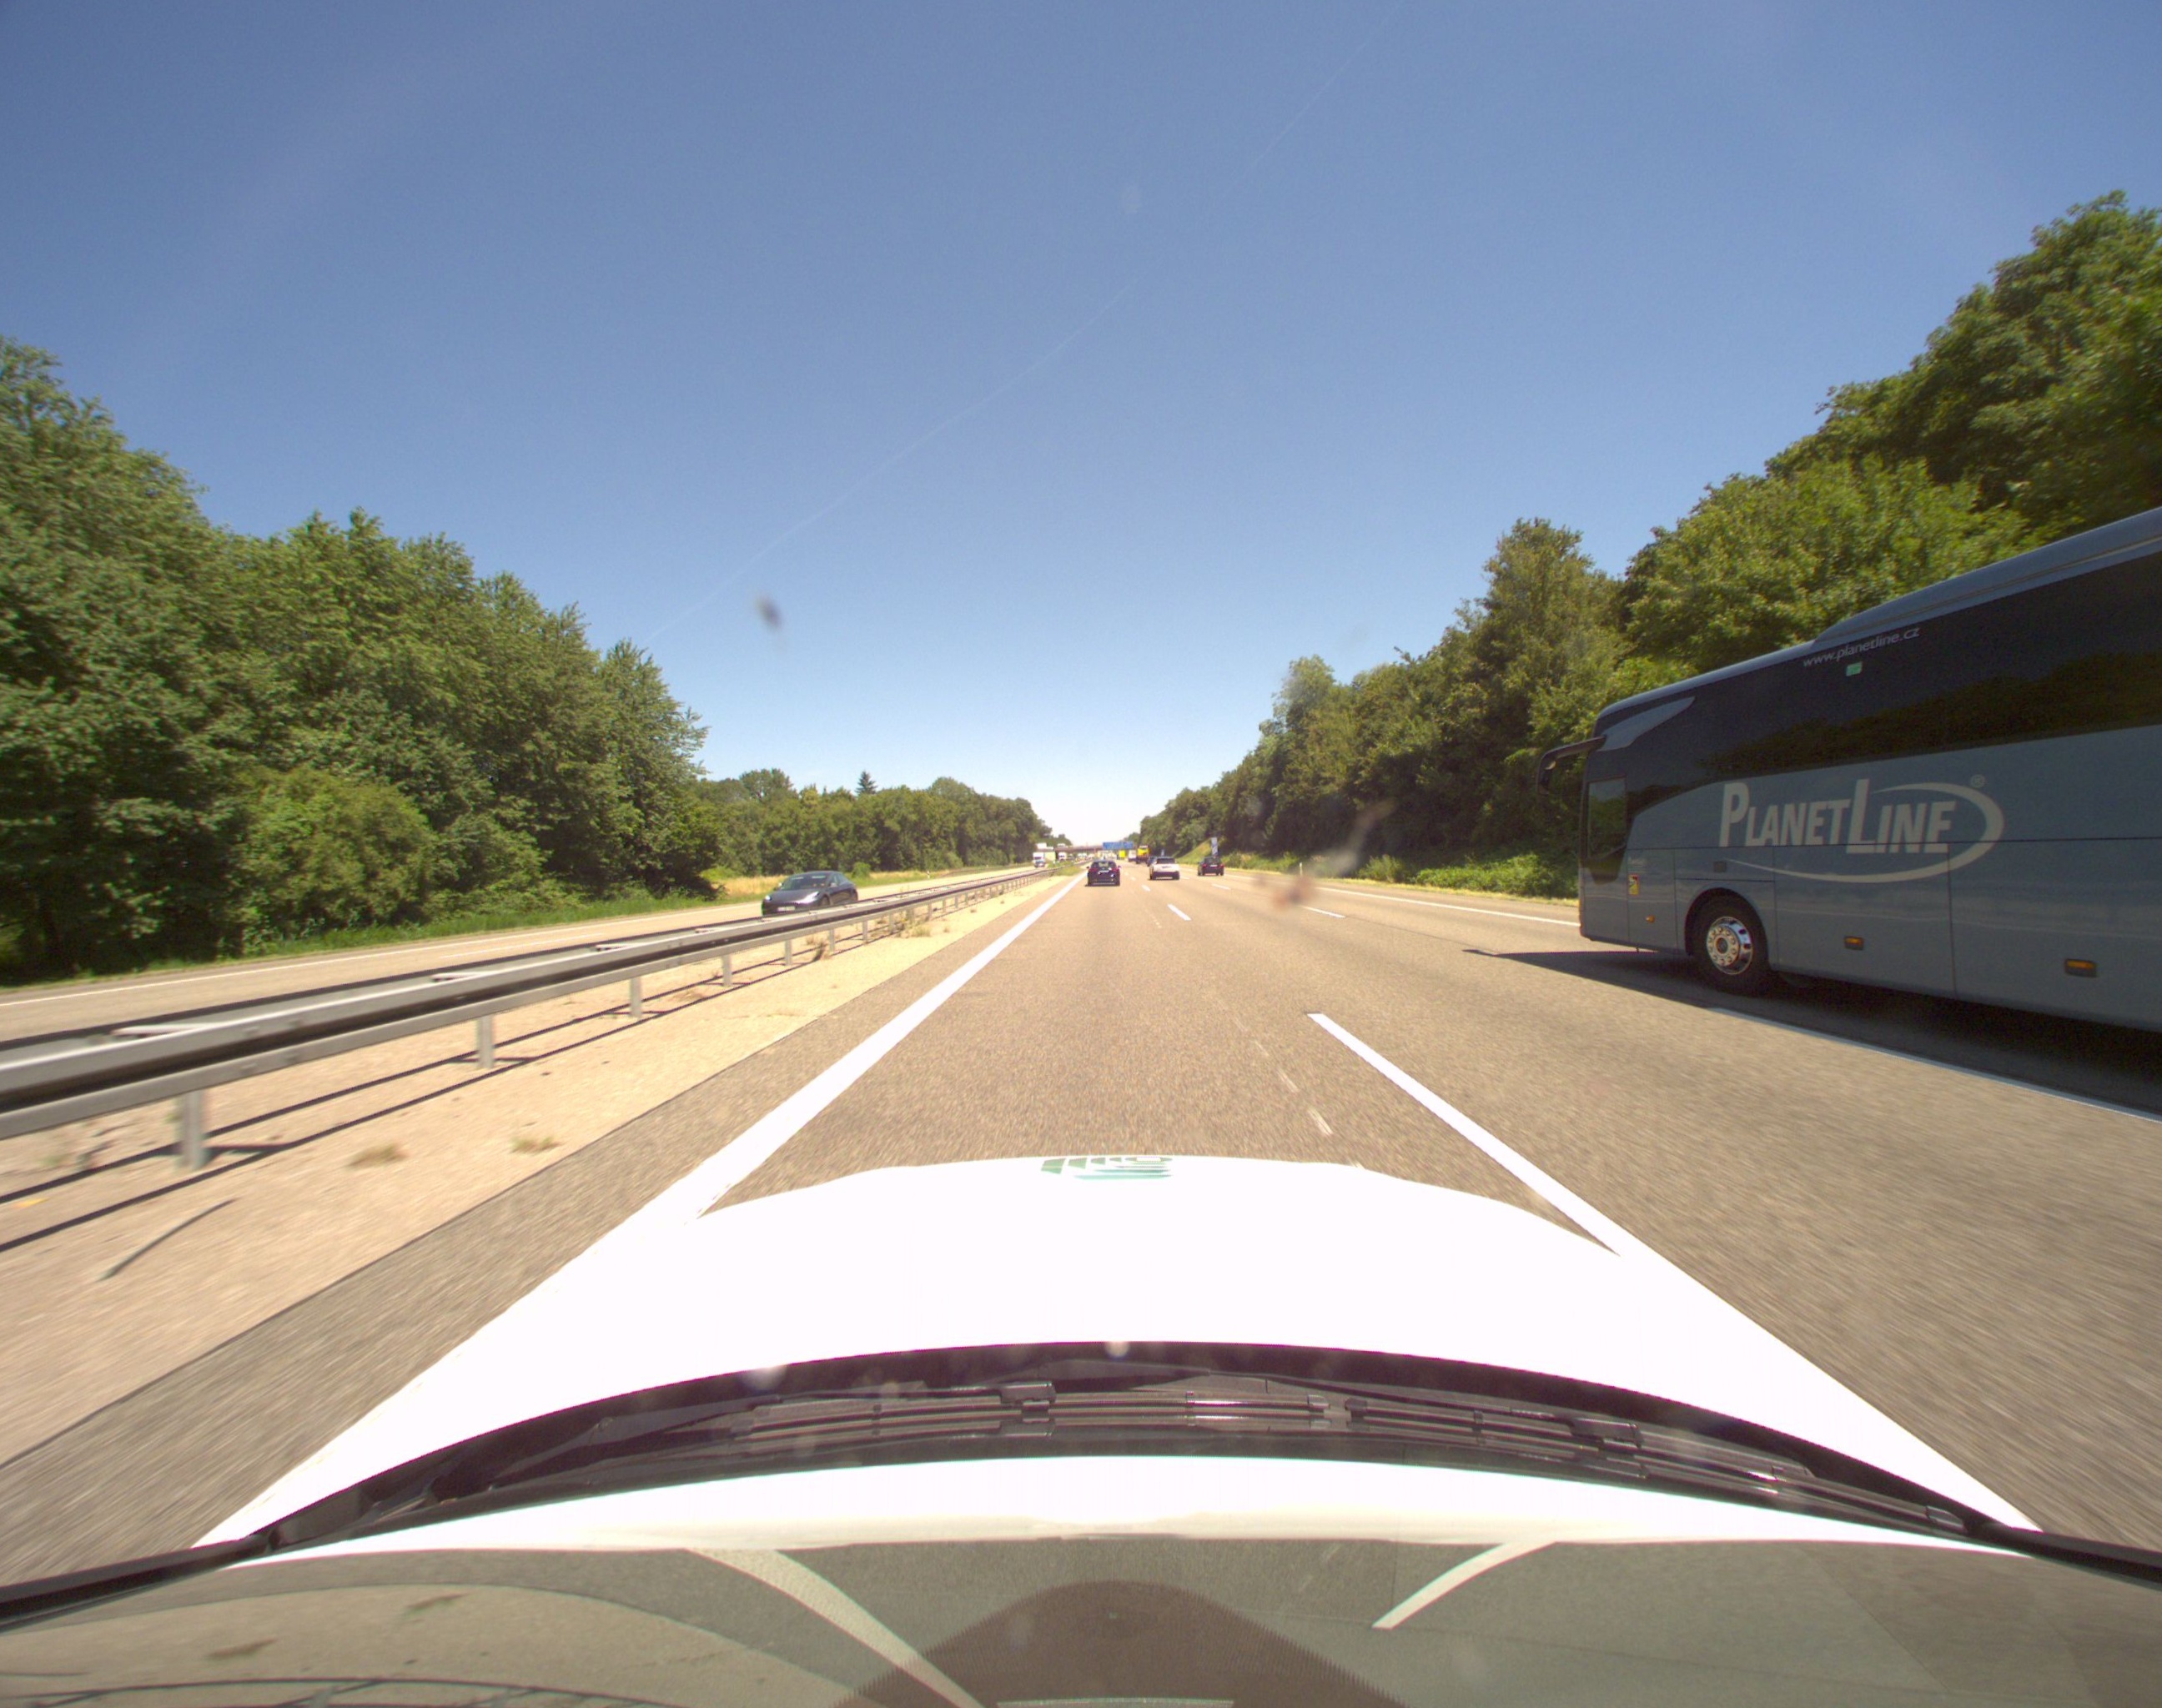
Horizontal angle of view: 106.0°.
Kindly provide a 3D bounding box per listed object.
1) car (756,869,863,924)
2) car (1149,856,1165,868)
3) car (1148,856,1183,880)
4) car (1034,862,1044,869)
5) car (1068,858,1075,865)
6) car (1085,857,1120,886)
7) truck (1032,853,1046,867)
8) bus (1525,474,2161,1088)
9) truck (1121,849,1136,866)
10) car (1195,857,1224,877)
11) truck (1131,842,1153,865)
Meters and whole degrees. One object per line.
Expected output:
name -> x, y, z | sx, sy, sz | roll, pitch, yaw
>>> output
car -> -8.497, 1.268, 25.935 | 1.799, 1.480, 4.567 | -2, -1, 1
car -> 11.957, 1.216, 127.922 | 2.069, 1.751, 4.241 | -2, 0, 1
car -> 5.593, 0.898, 54.382 | 1.893, 1.532, 4.241 | -1, 0, 1
car -> -9.009, 2.427, 174.476 | 1.793, 1.532, 4.678 | -1, 0, 1
car -> -2.488, 1.915, 210.460 | 1.793, 1.696, 4.242 | -1, 0, 1
car -> 1.161, 0.933, 45.269 | 1.793, 1.502, 4.241 | -1, 0, 1
truck -> -11.367, 1.708, 220.111 | 2.786, 3.632, 10.697 | -3, 0, 1
bus -> 7.744, -0.441, 5.500 | 2.792, 3.596, 12.474 | -1, 0, 1
truck -> 13.590, 1.018, 233.799 | 3.635, 4.590, 17.247 | 0, -1, 1
car -> 9.958, 0.956, 63.167 | 1.782, 1.461, 3.951 | -1, 0, 2
truck -> 12.943, -0.044, 174.453 | 3.635, 4.590, 15.766 | 0, -1, 1
